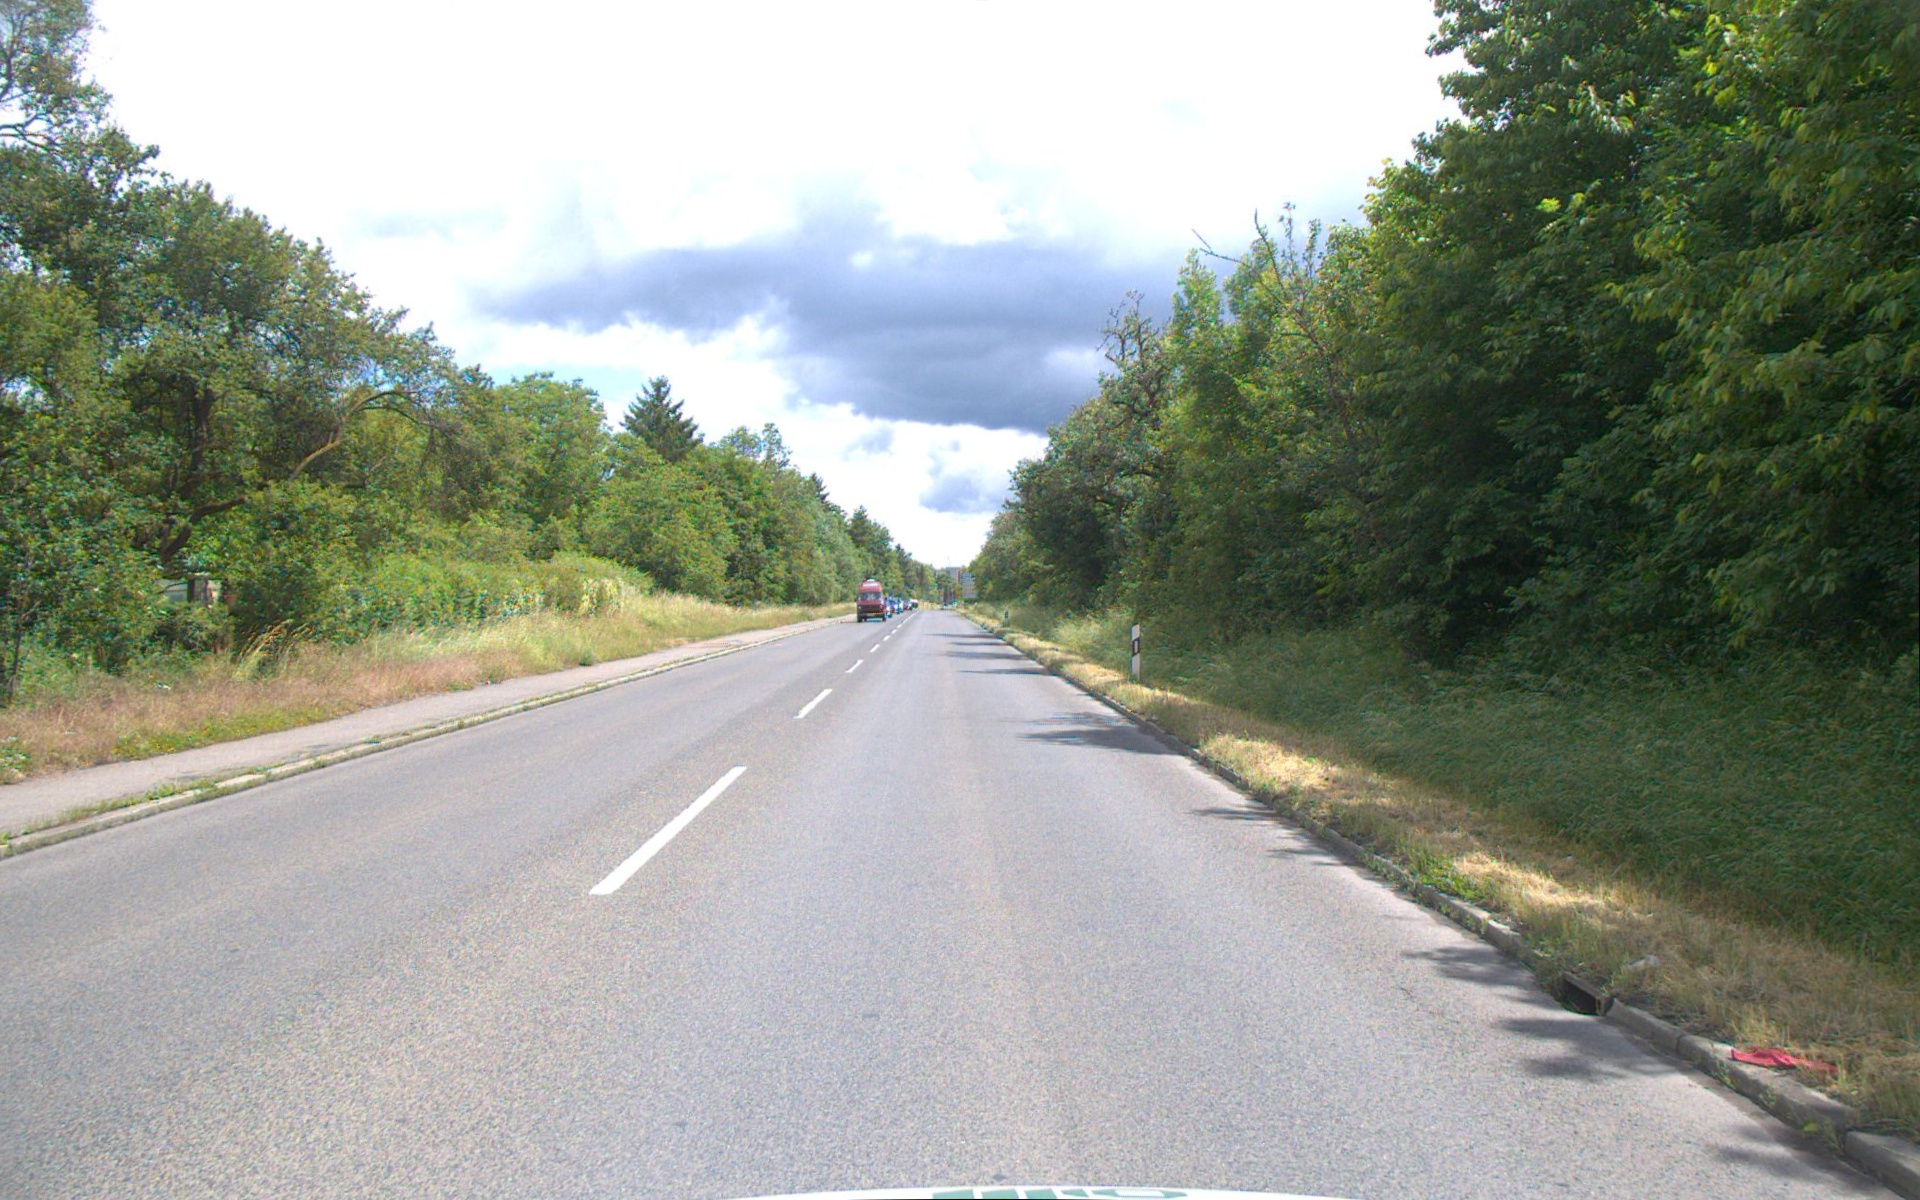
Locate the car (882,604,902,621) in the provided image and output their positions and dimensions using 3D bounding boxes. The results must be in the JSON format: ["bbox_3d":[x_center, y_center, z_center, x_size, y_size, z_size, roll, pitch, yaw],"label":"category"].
[{"bbox_3d":[-6.437,1.184,156.351,1.748,1.472,4.450,-2,0,-2],"label":"car"}]

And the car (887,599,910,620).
[{"bbox_3d":[-4.666,0.743,126.080,1.681,1.496,3.998,-3,0,-2],"label":"car"}]

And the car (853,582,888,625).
[{"bbox_3d":[-5.647,0.210,105.038,1.929,2.594,4.723,-3,0,-1],"label":"car"}]
